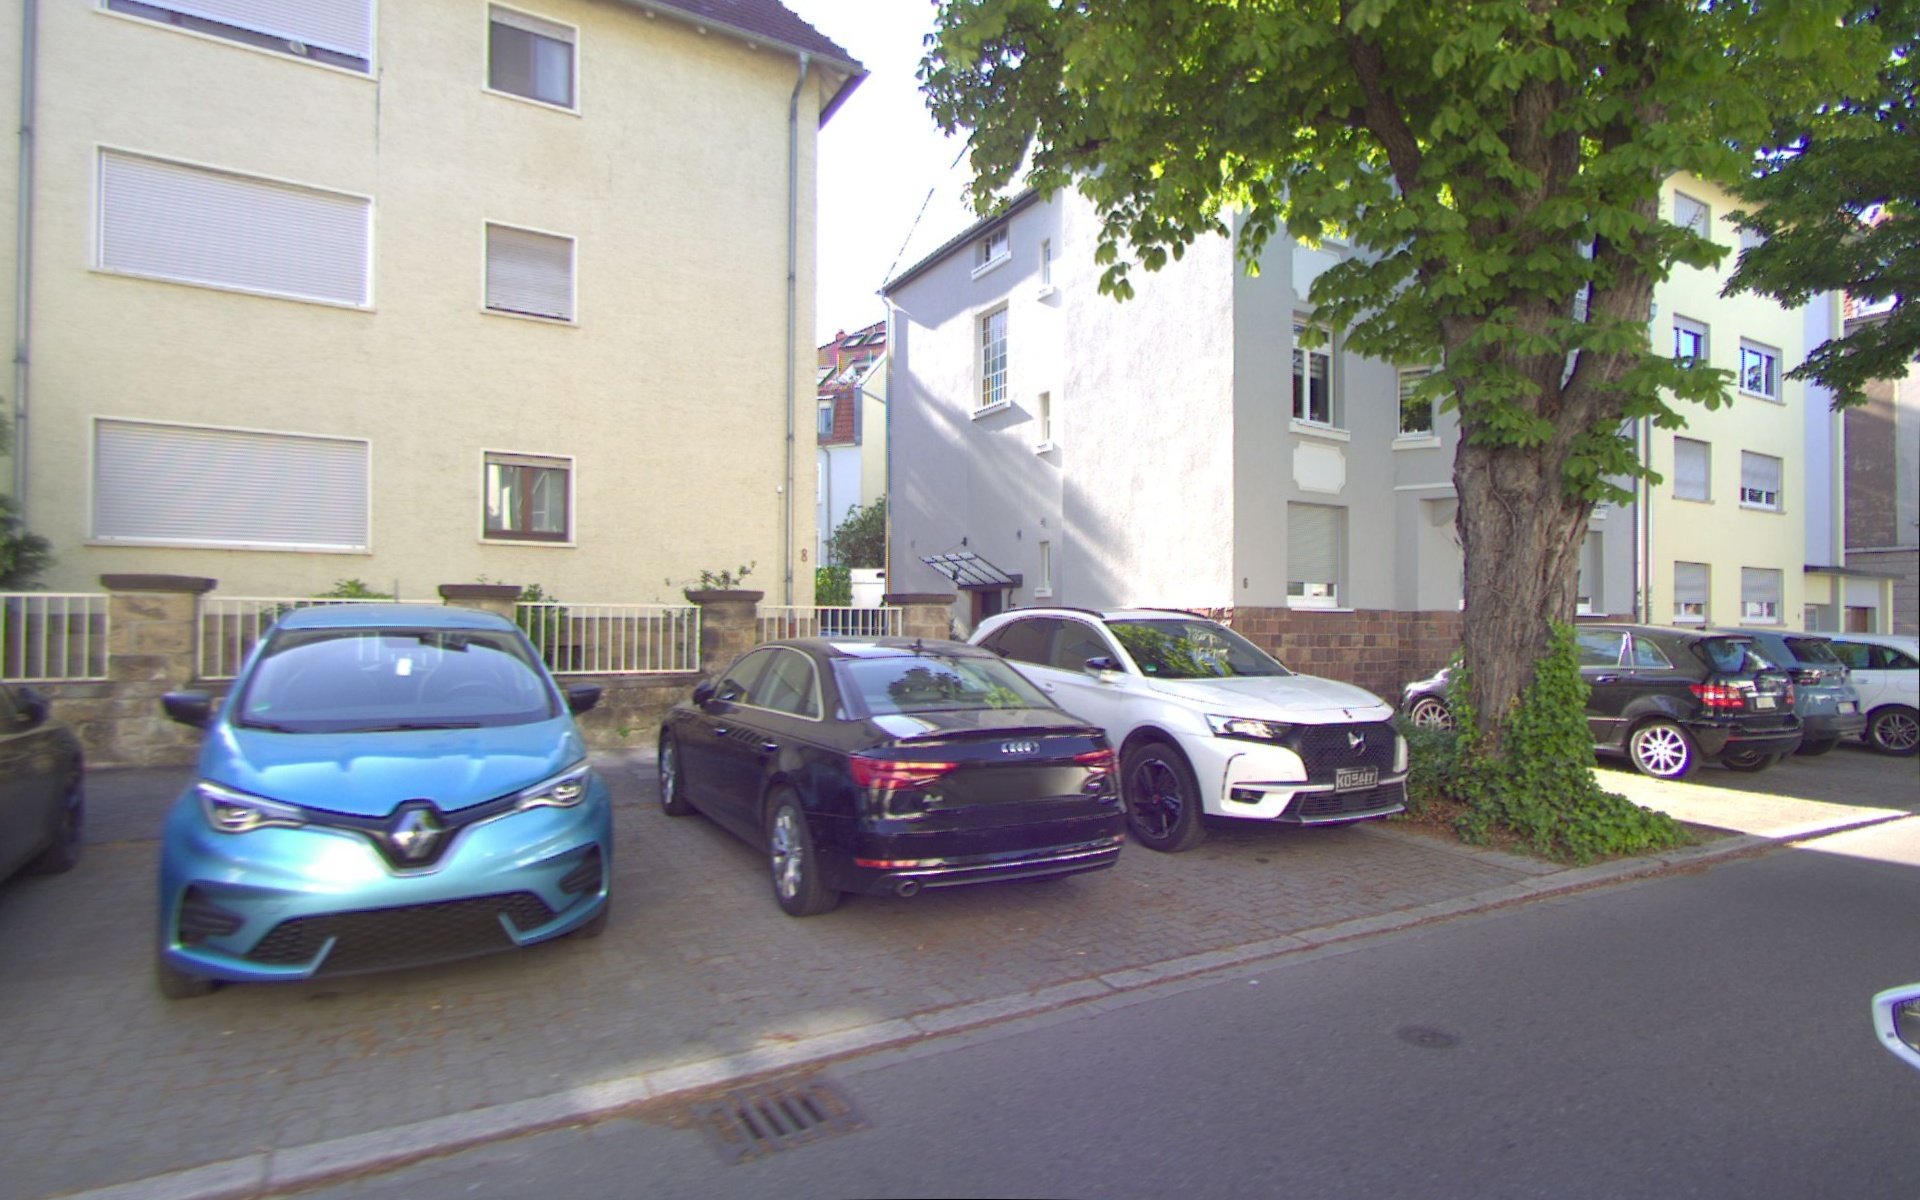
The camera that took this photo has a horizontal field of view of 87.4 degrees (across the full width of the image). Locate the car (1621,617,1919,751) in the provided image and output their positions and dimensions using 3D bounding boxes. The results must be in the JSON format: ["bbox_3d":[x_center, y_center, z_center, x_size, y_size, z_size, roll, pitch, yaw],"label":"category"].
[{"bbox_3d":[11.957,1.098,14.174,1.786,1.504,4.003,2,1,-30],"label":"car"}]

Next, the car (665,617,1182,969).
[{"bbox_3d":[-0.565,0.888,6.502,1.677,1.488,3.968,2,-1,-30],"label":"car"}]

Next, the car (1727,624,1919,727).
[{"bbox_3d":[15.379,1.261,16.553,1.783,1.463,3.993,3,1,-37],"label":"car"}]

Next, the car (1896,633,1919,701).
[{"bbox_3d":[22.390,1.506,20.866,1.750,1.441,3.967,0,1,-30],"label":"car"}]

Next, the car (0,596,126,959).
[{"bbox_3d":[-4.917,0.718,3.952,1.840,1.518,4.166,2,-1,-31],"label":"car"}]

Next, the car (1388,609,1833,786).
[{"bbox_3d":[7.419,0.981,11.911,1.955,1.596,3.972,2,1,-27],"label":"car"}]

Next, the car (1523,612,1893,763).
[{"bbox_3d":[9.711,1.037,13.327,1.748,1.596,3.502,2,1,-27],"label":"car"}]

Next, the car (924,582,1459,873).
[{"bbox_3d":[1.482,0.787,8.153,1.801,1.674,4.368,0,-1,-29],"label":"car"}]

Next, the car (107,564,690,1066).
[{"bbox_3d":[-2.964,0.728,5.428,1.857,1.613,3.966,2,-1,-31],"label":"car"}]
